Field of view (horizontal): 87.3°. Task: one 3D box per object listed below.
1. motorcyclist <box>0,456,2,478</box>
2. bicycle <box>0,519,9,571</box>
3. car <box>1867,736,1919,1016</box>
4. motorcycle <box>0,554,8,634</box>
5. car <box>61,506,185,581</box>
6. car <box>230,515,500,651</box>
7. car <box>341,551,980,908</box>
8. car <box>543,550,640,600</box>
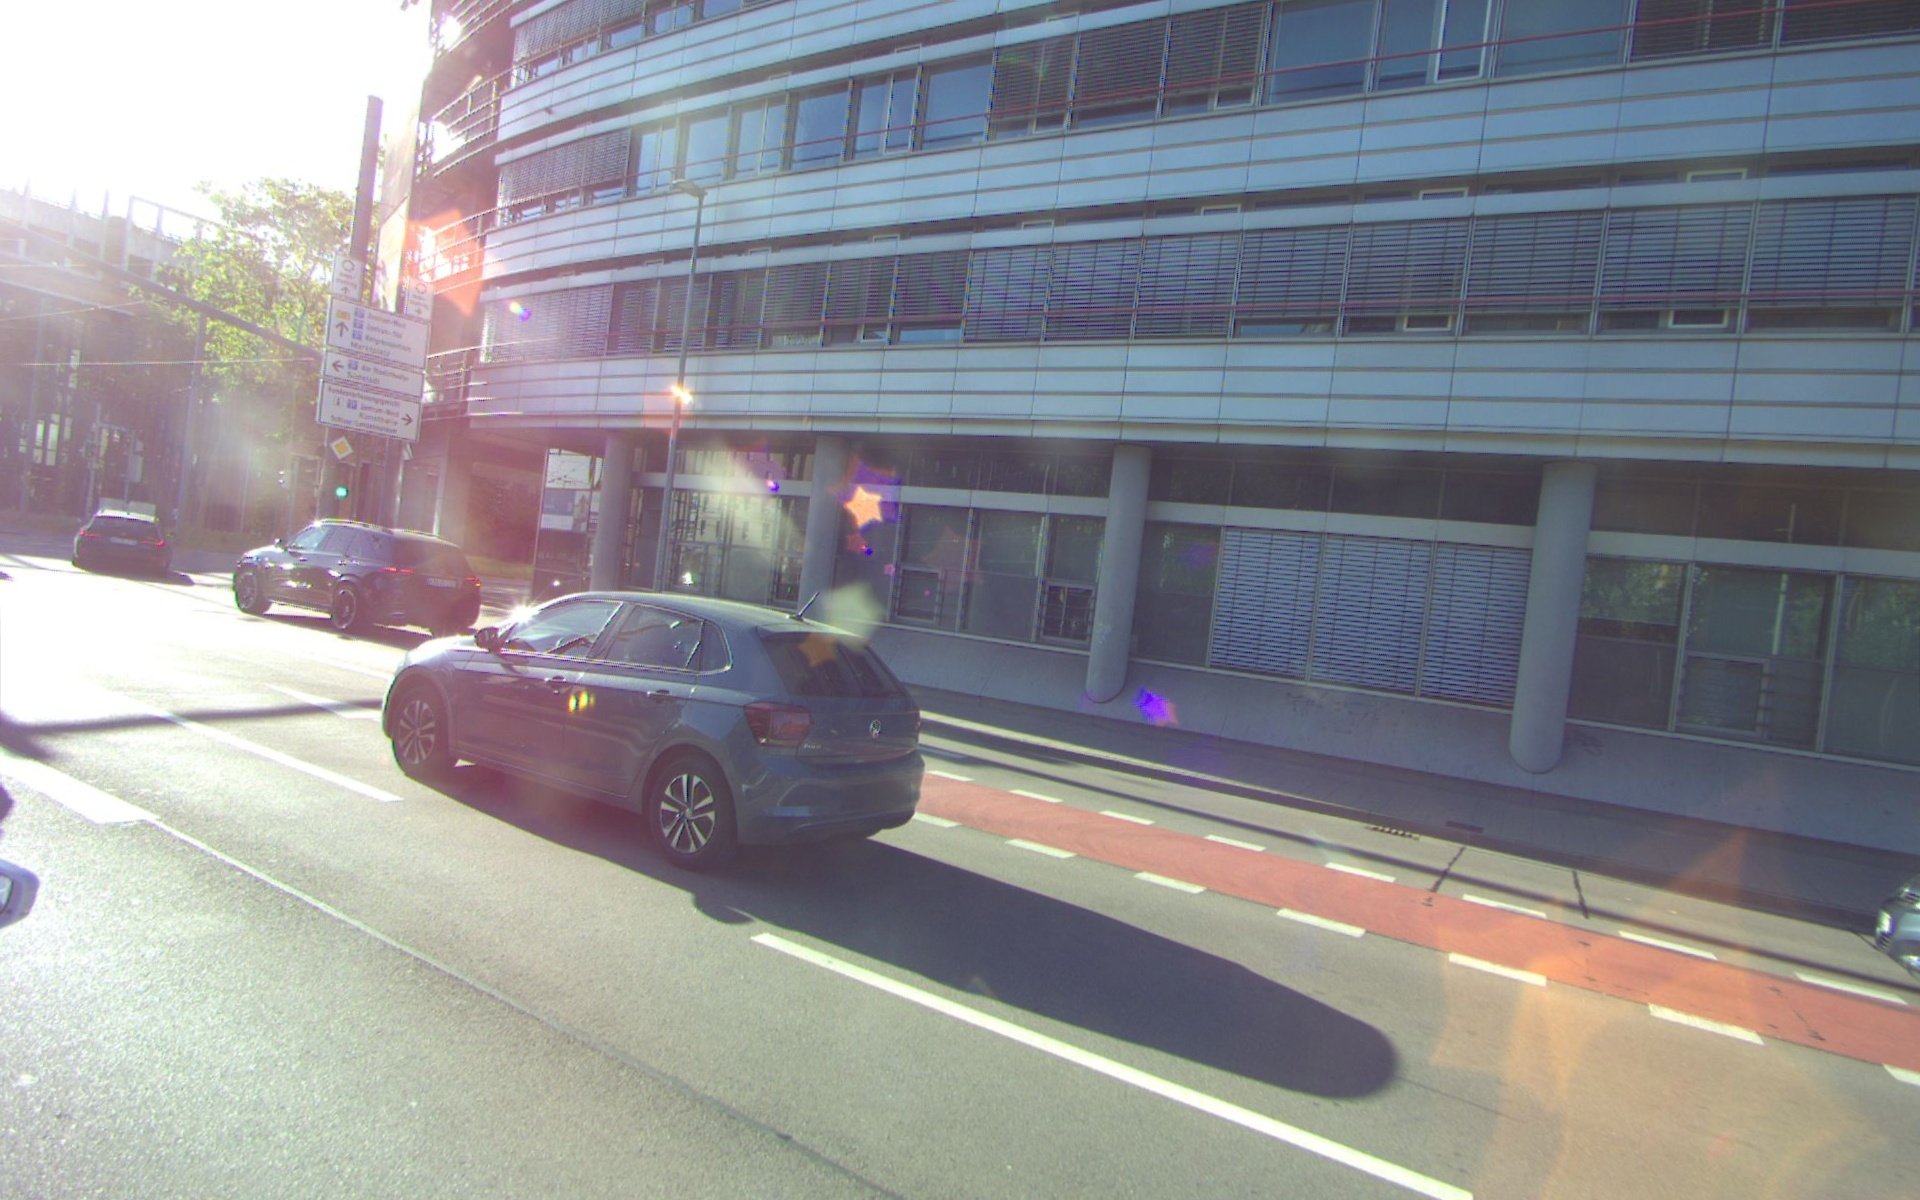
[{"bbox_3d":[-6.991,-0.251,6.581,1.004,1.549,0.745,7,1,34],"label":"motorcyclist"},{"bbox_3d":[-19.970,-1.217,20.150,2.286,1.010,0.493,7,1,26],"label":"bicycle"},{"bbox_3d":[7.943,1.933,5.357,4.399,1.649,1.686,7,0,40],"label":"car"},{"bbox_3d":[-7.211,0.154,6.711,1.937,1.129,0.776,7,0,34],"label":"motorcycle"},{"bbox_3d":[-21.113,-1.452,25.540,1.984,1.436,3.961,10,-2,-36],"label":"car"},{"bbox_3d":[-10.268,-0.304,17.332,4.254,1.771,1.997,7,0,29],"label":"car"},{"bbox_3d":[-2.090,0.681,6.790,3.932,1.474,1.811,7,-1,30],"label":"car"},{"bbox_3d":[-16.921,-1.119,46.387,1.831,1.670,4.001,7,-2,23],"label":"car"}]
